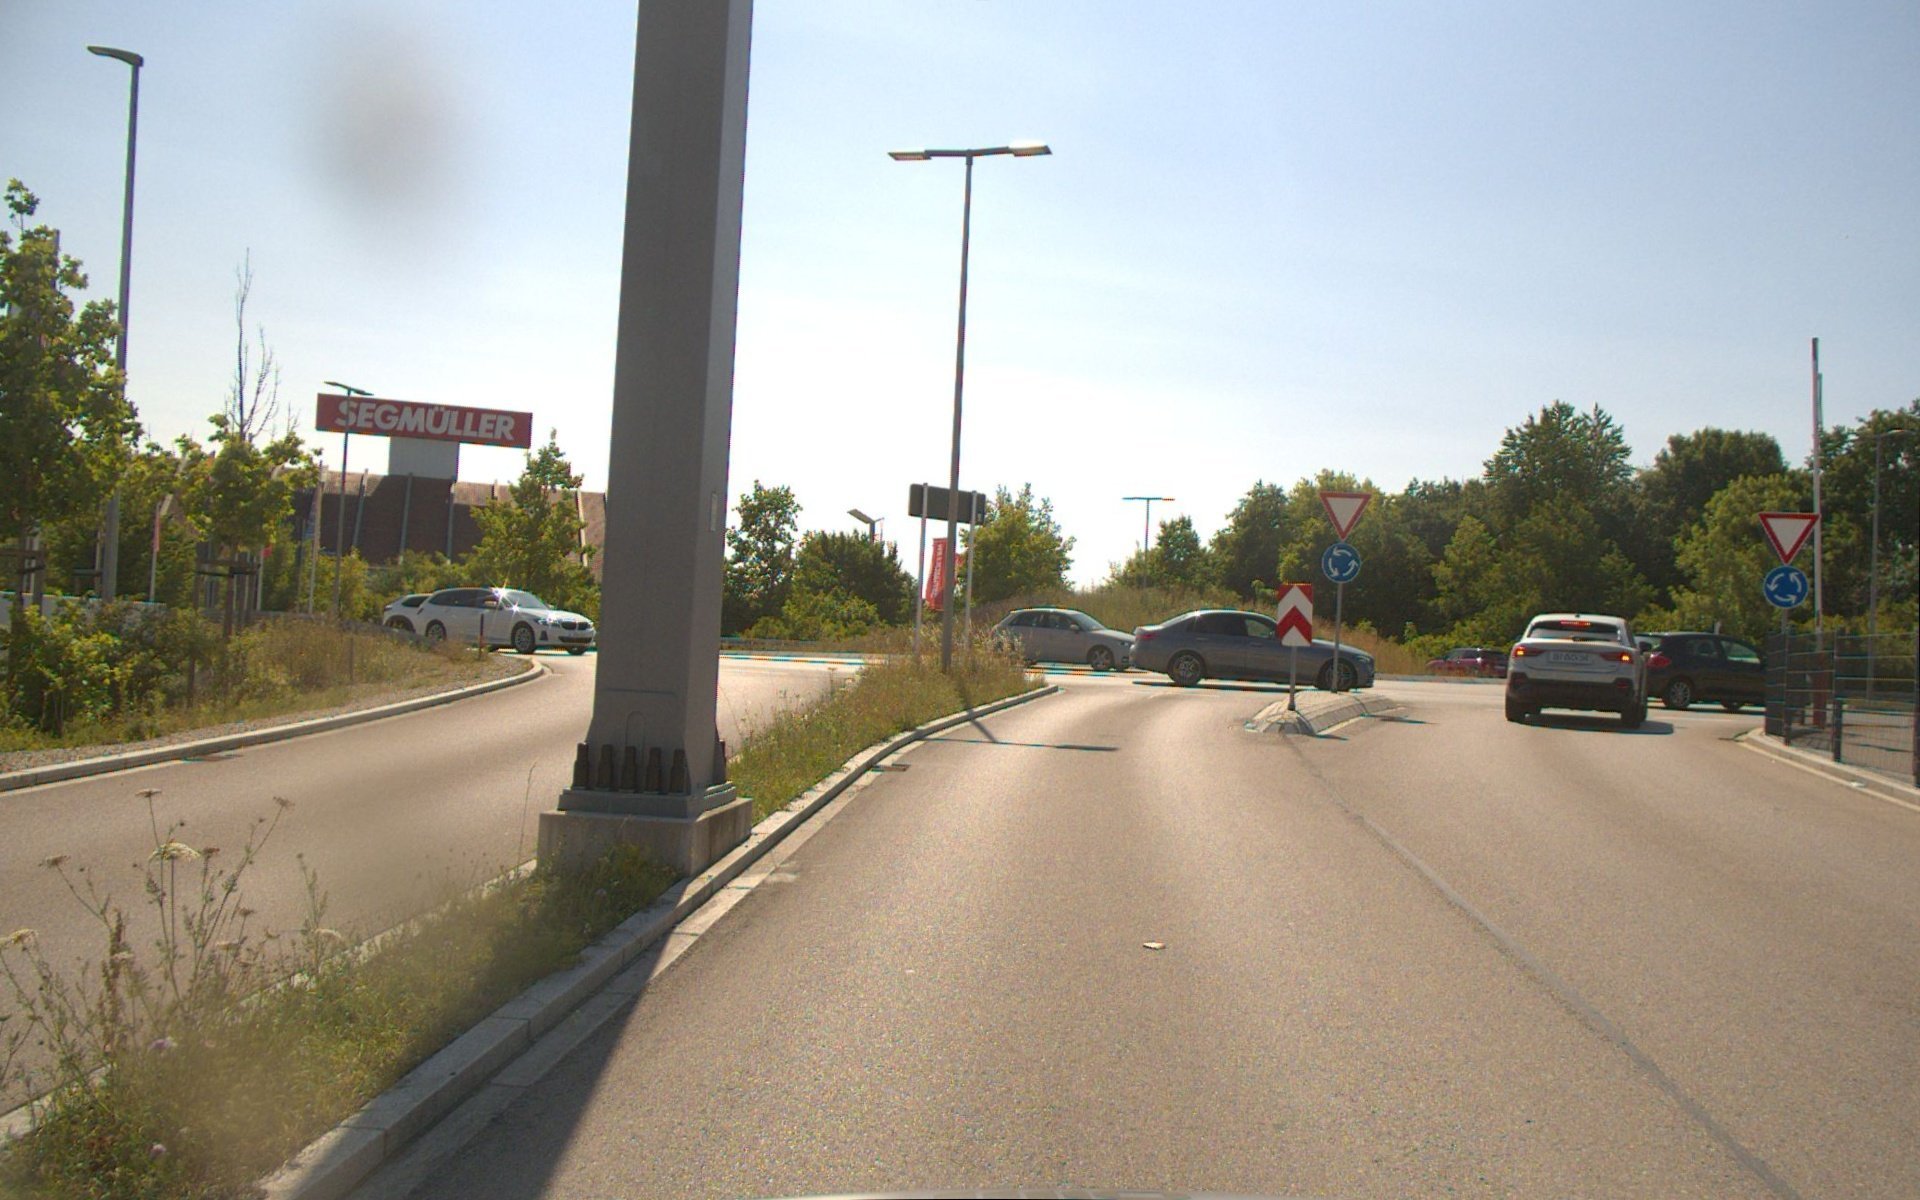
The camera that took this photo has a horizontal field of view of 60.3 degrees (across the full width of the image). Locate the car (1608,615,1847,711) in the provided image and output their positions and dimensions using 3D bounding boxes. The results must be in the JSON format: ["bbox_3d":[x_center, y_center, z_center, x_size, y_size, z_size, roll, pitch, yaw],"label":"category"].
[{"bbox_3d":[15.216,1.234,32.933,3.867,1.646,1.819,3,-1,1],"label":"car"}]

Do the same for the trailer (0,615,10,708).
[{"bbox_3d":[-12.428,0.750,17.830,3.646,1.476,1.691,7,-2,-30],"label":"trailer"}]

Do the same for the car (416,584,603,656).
[{"bbox_3d":[-10.242,0.438,37.525,4.249,1.375,1.569,3,-1,32],"label":"car"}]

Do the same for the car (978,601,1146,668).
[{"bbox_3d":[2.457,0.824,39.896,3.683,1.375,1.530,3,-1,25],"label":"car"}]

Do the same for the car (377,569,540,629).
[{"bbox_3d":[-14.655,-0.016,48.535,4.188,1.557,1.790,2,-1,-3],"label":"car"}]

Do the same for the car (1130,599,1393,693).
[{"bbox_3d":[5.708,0.874,31.846,4.755,1.477,2.001,3,-1,5],"label":"car"}]

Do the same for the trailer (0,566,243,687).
[{"bbox_3d":[-13.385,0.410,26.047,3.645,1.803,1.790,1,0,-30],"label":"trailer"}]

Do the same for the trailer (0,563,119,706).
[{"bbox_3d":[-13.142,0.382,21.676,3.645,1.803,1.790,4,-1,-30],"label":"trailer"}]

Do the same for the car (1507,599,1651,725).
[{"bbox_3d":[9.203,0.889,24.607,1.803,1.624,4.325,2,-1,21],"label":"car"}]
